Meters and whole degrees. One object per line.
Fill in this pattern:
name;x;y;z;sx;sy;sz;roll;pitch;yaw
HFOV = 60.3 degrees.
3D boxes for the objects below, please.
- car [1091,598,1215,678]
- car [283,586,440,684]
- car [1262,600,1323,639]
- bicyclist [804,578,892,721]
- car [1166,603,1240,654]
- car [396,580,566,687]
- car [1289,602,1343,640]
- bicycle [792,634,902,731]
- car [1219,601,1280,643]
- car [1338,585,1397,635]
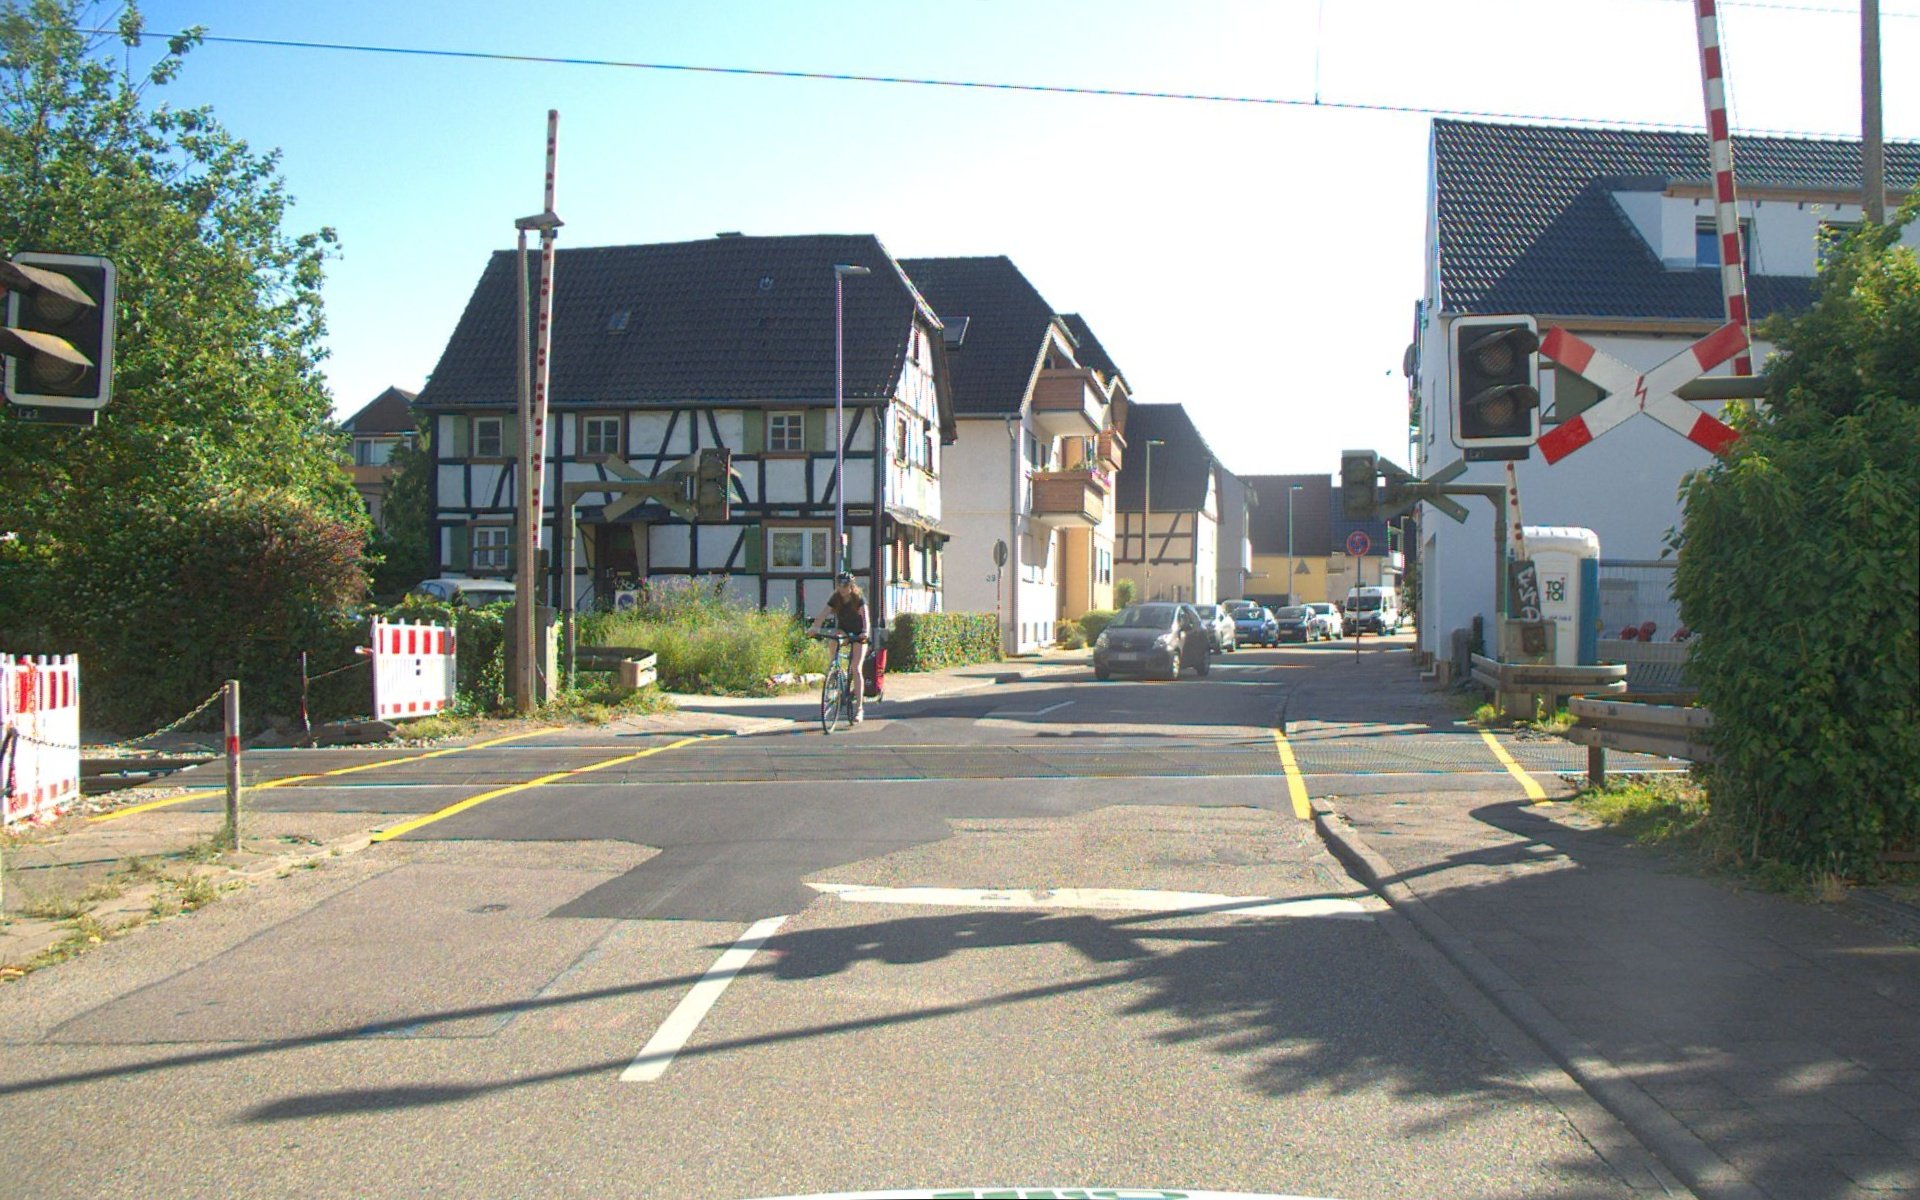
car;3.998;0.753;33.764;1.651;1.536;3.654;-1;-1;21
car;-9.488;0.509;26.074;1.620;1.426;3.791;1;0;-31
car;13.909;0.796;69.092;1.669;1.545;4.120;-2;-1;23
bicyclist;-1.261;0.560;18.706;0.830;1.568;0.874;-1;-1;6
car;7.662;0.862;51.965;1.638;1.532;4.096;-1;0;18
car;-7.871;0.511;26.970;1.666;1.592;3.958;2;-1;-31
car;15.807;0.932;73.281;1.639;1.599;3.965;-2;-1;22
bicycle;-1.243;0.898;18.687;0.865;1.023;2.064;-1;-1;7
car;10.551;0.798;60.112;1.604;1.466;4.076;-1;-1;18
car;21.004;0.499;85.192;2.035;2.436;5.206;-2;-1;24
